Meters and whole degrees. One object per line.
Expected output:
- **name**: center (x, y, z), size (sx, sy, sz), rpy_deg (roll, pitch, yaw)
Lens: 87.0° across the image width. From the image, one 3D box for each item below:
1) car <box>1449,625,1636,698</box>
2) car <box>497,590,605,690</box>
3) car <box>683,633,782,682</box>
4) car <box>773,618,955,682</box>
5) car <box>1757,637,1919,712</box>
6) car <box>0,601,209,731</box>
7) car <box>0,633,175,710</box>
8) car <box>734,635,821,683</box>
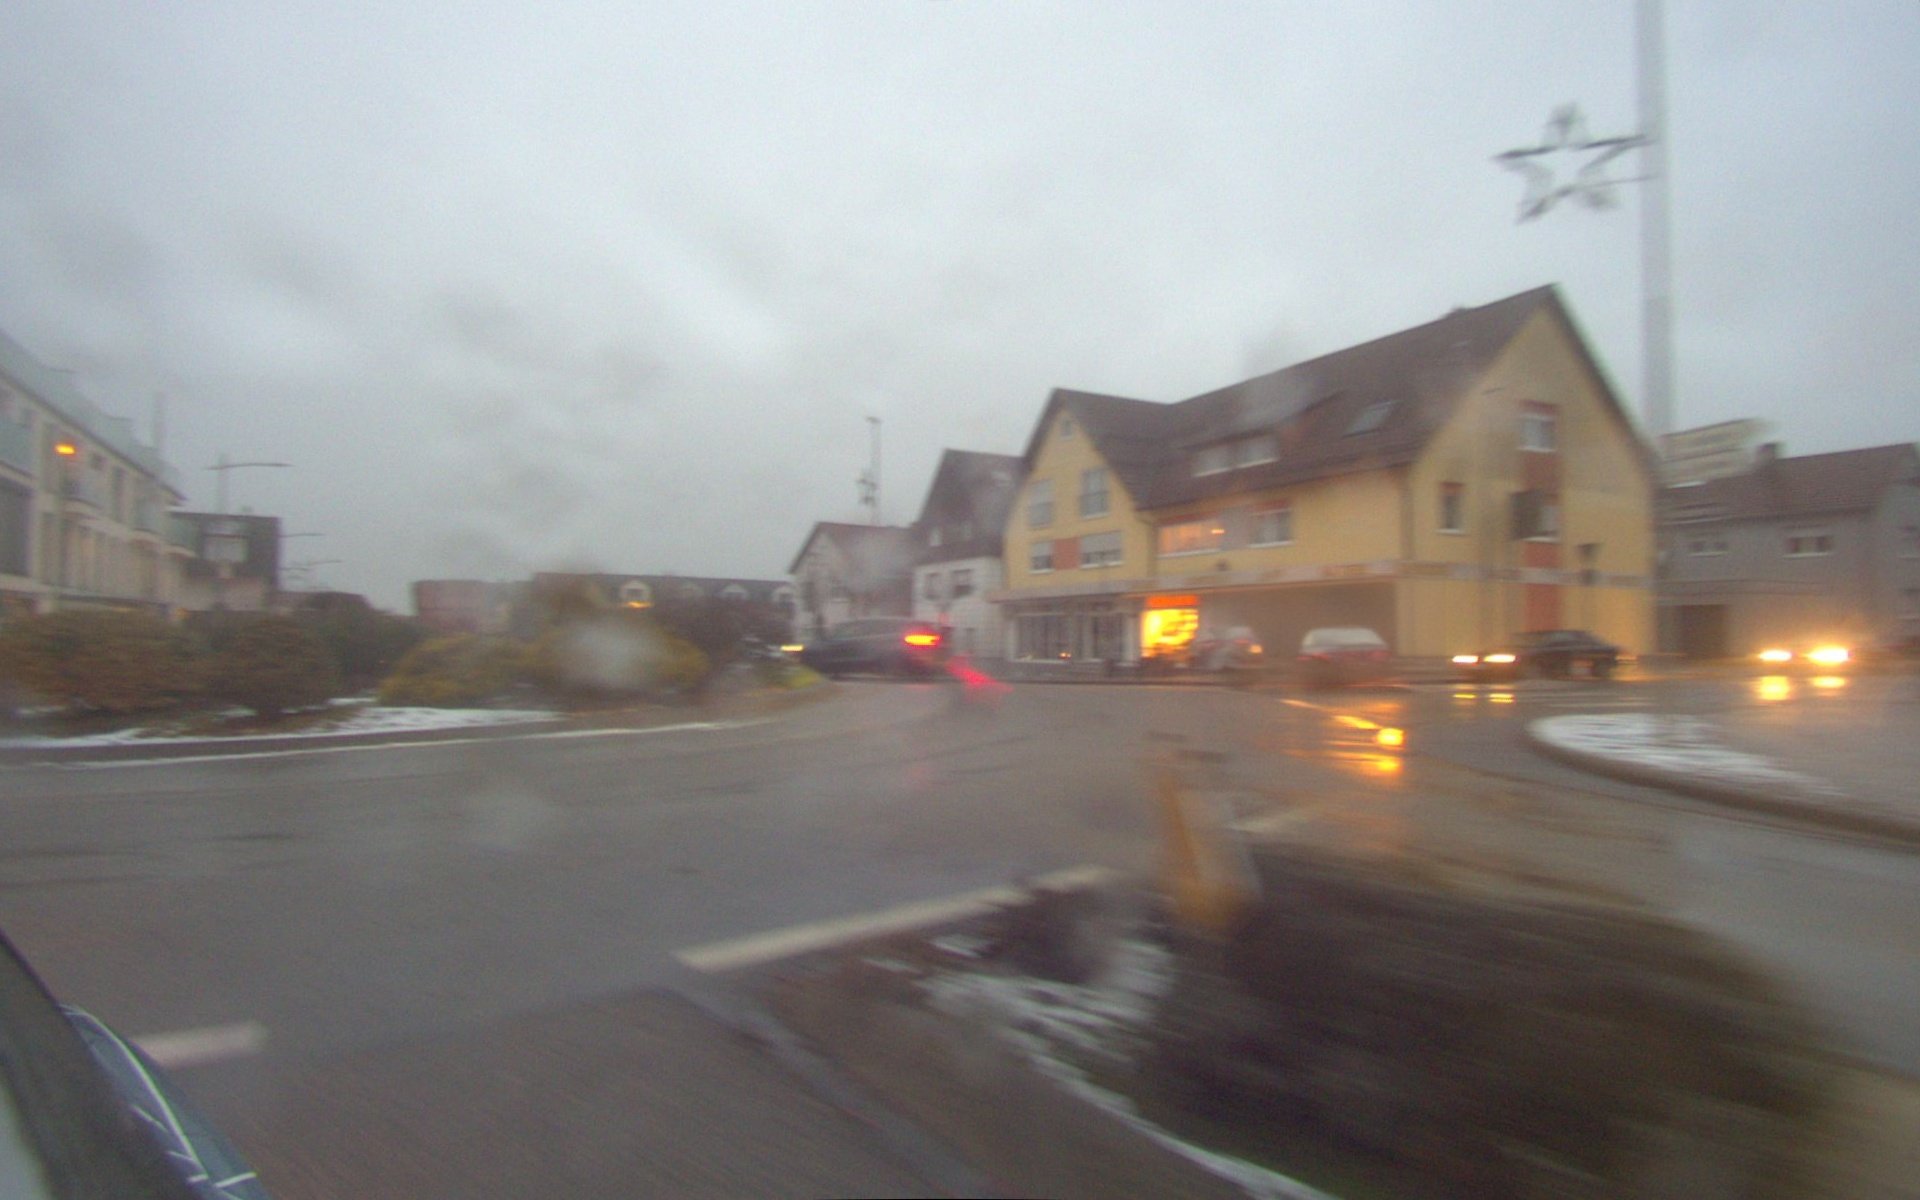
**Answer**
- **car**: center (14.929, 1.519, 25.944), size (4.298, 1.617, 1.895), rpy_deg (0, 0, -22)
- **car**: center (-9.169, 0.792, 22.764), size (2.023, 2.002, 4.552), rpy_deg (0, 0, -22)
- **car**: center (-10.276, 2.552, 45.719), size (3.977, 2.010, 1.955), rpy_deg (0, 0, 25)
- **car**: center (-2.529, 1.280, 26.924), size (4.495, 1.612, 1.860), rpy_deg (0, -1, 15)
- **car**: center (27.118, 2.237, 31.265), size (4.387, 2.029, 2.007), rpy_deg (0, 0, -22)
- **car**: center (-11.720, 0.766, 13.852), size (2.139, 1.488, 4.007), rpy_deg (-1, 0, -39)
- **car**: center (-19.784, 1.516, 21.842), size (1.558, 1.455, 4.225), rpy_deg (0, 0, 35)
- **car**: center (-8.649, 2.755, 47.802), size (3.966, 2.029, 1.902), rpy_deg (0, 0, 38)
